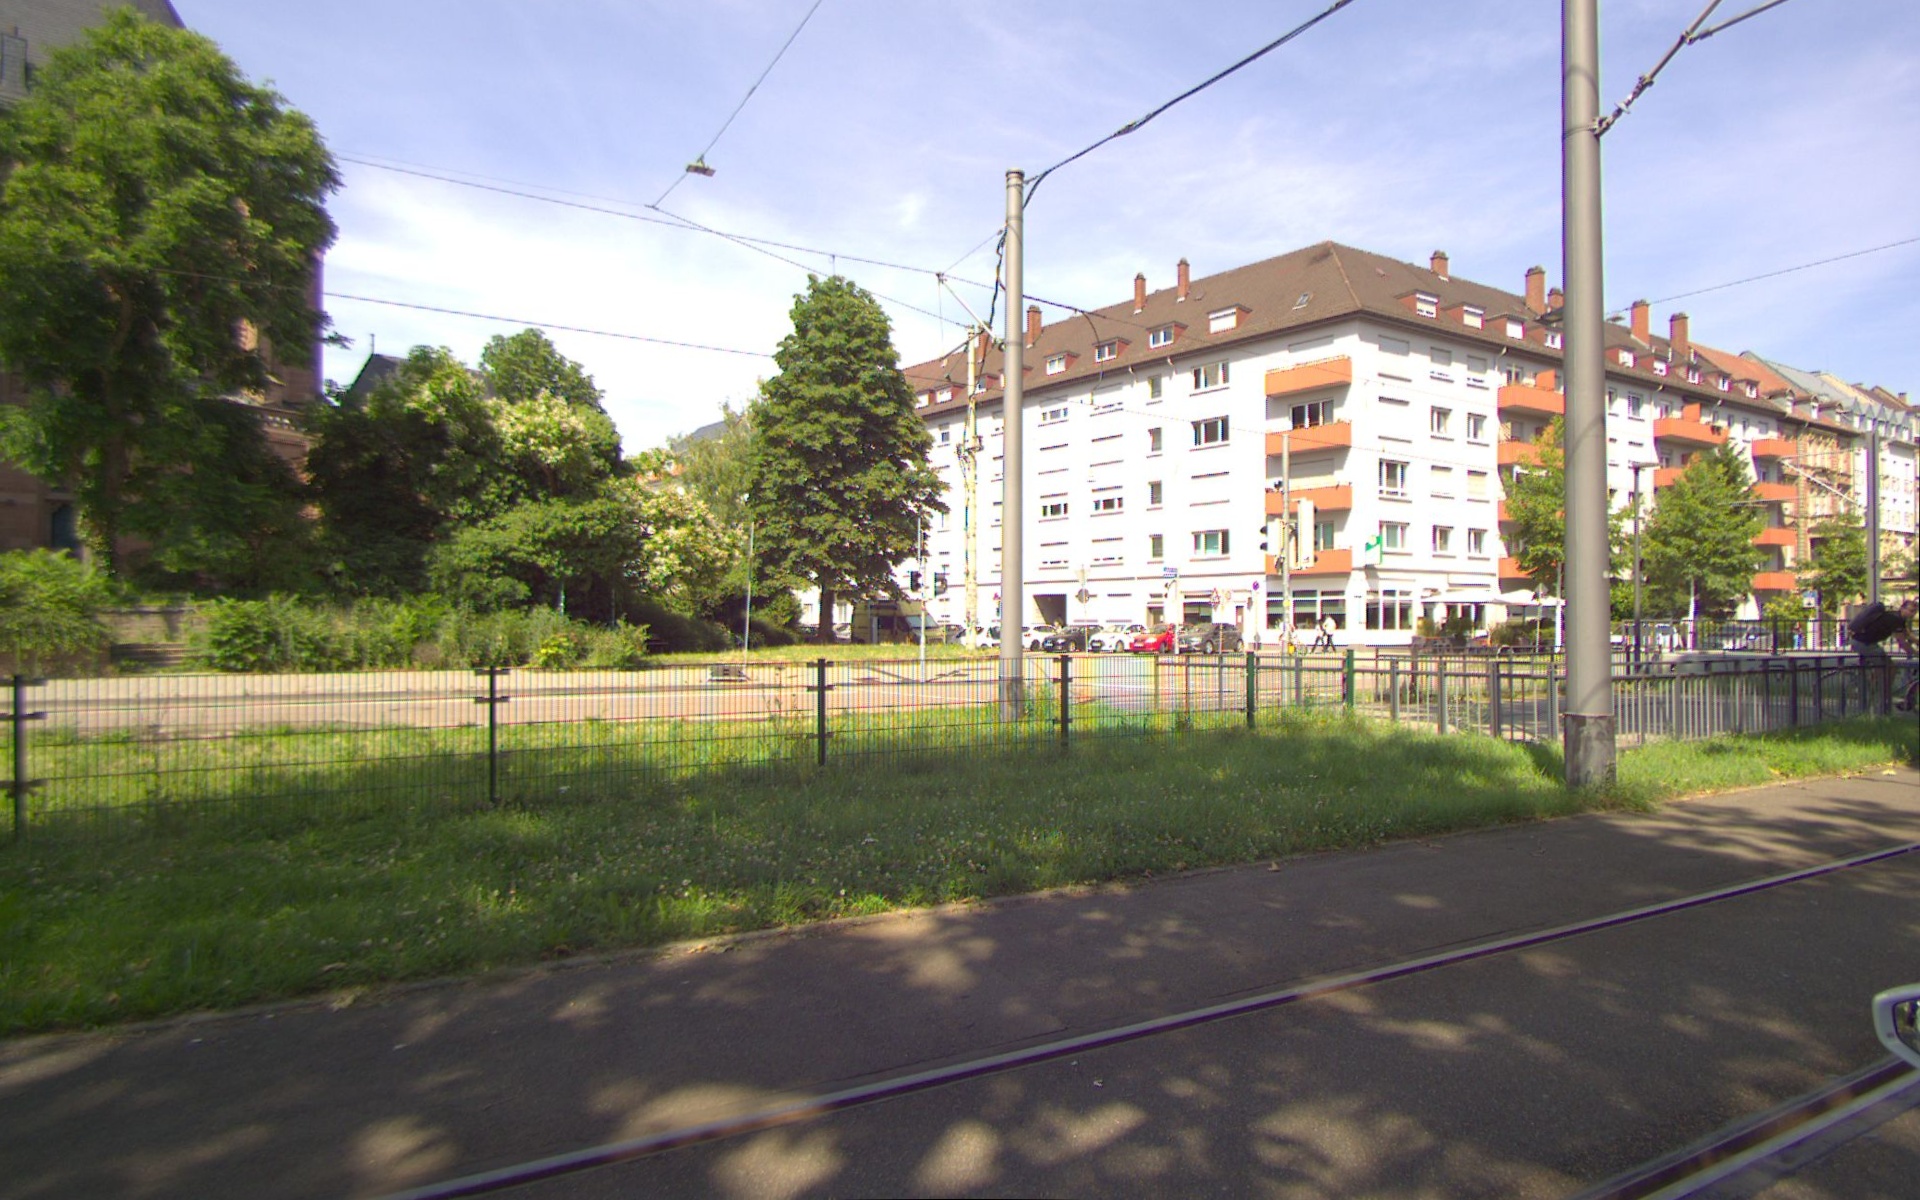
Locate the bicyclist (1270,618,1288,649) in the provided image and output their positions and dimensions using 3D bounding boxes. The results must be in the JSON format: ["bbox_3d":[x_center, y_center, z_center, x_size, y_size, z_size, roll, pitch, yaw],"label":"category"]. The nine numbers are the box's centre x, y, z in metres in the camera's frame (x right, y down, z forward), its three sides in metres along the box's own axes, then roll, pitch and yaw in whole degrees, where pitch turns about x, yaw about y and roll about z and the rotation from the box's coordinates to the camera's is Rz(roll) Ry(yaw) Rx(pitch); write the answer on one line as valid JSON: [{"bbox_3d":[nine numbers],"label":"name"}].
[{"bbox_3d":[15.008,1.548,47.214,0.616,1.442,0.587,-1,-1,44],"label":"bicyclist"}]

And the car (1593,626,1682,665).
[{"bbox_3d":[27.852,1.847,41.287,3.961,1.518,1.759,1,-3,-36],"label":"car"}]

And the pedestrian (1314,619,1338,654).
[{"bbox_3d":[16.665,1.653,45.742,0.846,1.593,0.688,-1,-1,36],"label":"pedestrian"}]

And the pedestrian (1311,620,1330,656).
[{"bbox_3d":[16.235,1.694,45.268,0.679,1.593,0.544,-1,-1,36],"label":"pedestrian"}]

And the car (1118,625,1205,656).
[{"bbox_3d":[9.786,1.948,48.696,4.129,1.425,1.918,1,-2,-38],"label":"car"}]

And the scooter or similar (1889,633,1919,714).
[{"bbox_3d":[15.163,1.130,15.400,1.249,1.220,0.656,0,-1,33],"label":"scooter or similar"}]

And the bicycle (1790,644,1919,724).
[{"bbox_3d":[12.962,1.167,14.160,1.894,1.063,0.531,-1,-1,34],"label":"bicycle"}]

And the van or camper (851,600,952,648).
[{"bbox_3d":[-3.107,1.259,52.329,2.228,2.360,5.704,1,-2,-42],"label":"van or camper"}]

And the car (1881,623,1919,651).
[{"bbox_3d":[53.527,2.059,56.548,3.961,1.518,1.758,1,-1,-36],"label":"car"}]

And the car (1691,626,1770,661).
[{"bbox_3d":[34.950,1.959,45.537,3.961,1.518,1.759,1,-3,-36],"label":"car"}]

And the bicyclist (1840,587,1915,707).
[{"bbox_3d":[12.944,0.656,14.188,0.683,1.644,0.623,-1,-1,34],"label":"bicyclist"}]

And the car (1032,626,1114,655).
[{"bbox_3d":[5.953,2.089,52.574,4.129,1.425,1.918,1,-2,-38],"label":"car"}]

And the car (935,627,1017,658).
[{"bbox_3d":[0.726,2.001,47.938,3.702,1.425,1.823,-1,-2,44],"label":"car"}]

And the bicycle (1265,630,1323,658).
[{"bbox_3d":[14.717,1.927,44.239,2.779,1.152,0.905,1,-1,-34],"label":"bicycle"}]

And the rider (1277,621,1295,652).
[{"bbox_3d":[15.450,1.709,47.613,0.616,1.442,0.587,-1,-1,44],"label":"rider"}]

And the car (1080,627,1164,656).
[{"bbox_3d":[8.243,2.080,51.010,4.129,1.425,1.918,1,-2,-38],"label":"car"}]

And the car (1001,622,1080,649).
[{"bbox_3d":[4.431,1.918,54.888,4.129,1.425,1.918,1,-1,-38],"label":"car"}]

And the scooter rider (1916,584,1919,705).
[{"bbox_3d":[15.191,0.688,15.390,0.657,1.891,0.662,0,-1,33],"label":"scooter rider"}]

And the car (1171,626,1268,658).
[{"bbox_3d":[11.955,1.891,46.103,4.598,1.394,1.821,1,-2,-36],"label":"car"}]
